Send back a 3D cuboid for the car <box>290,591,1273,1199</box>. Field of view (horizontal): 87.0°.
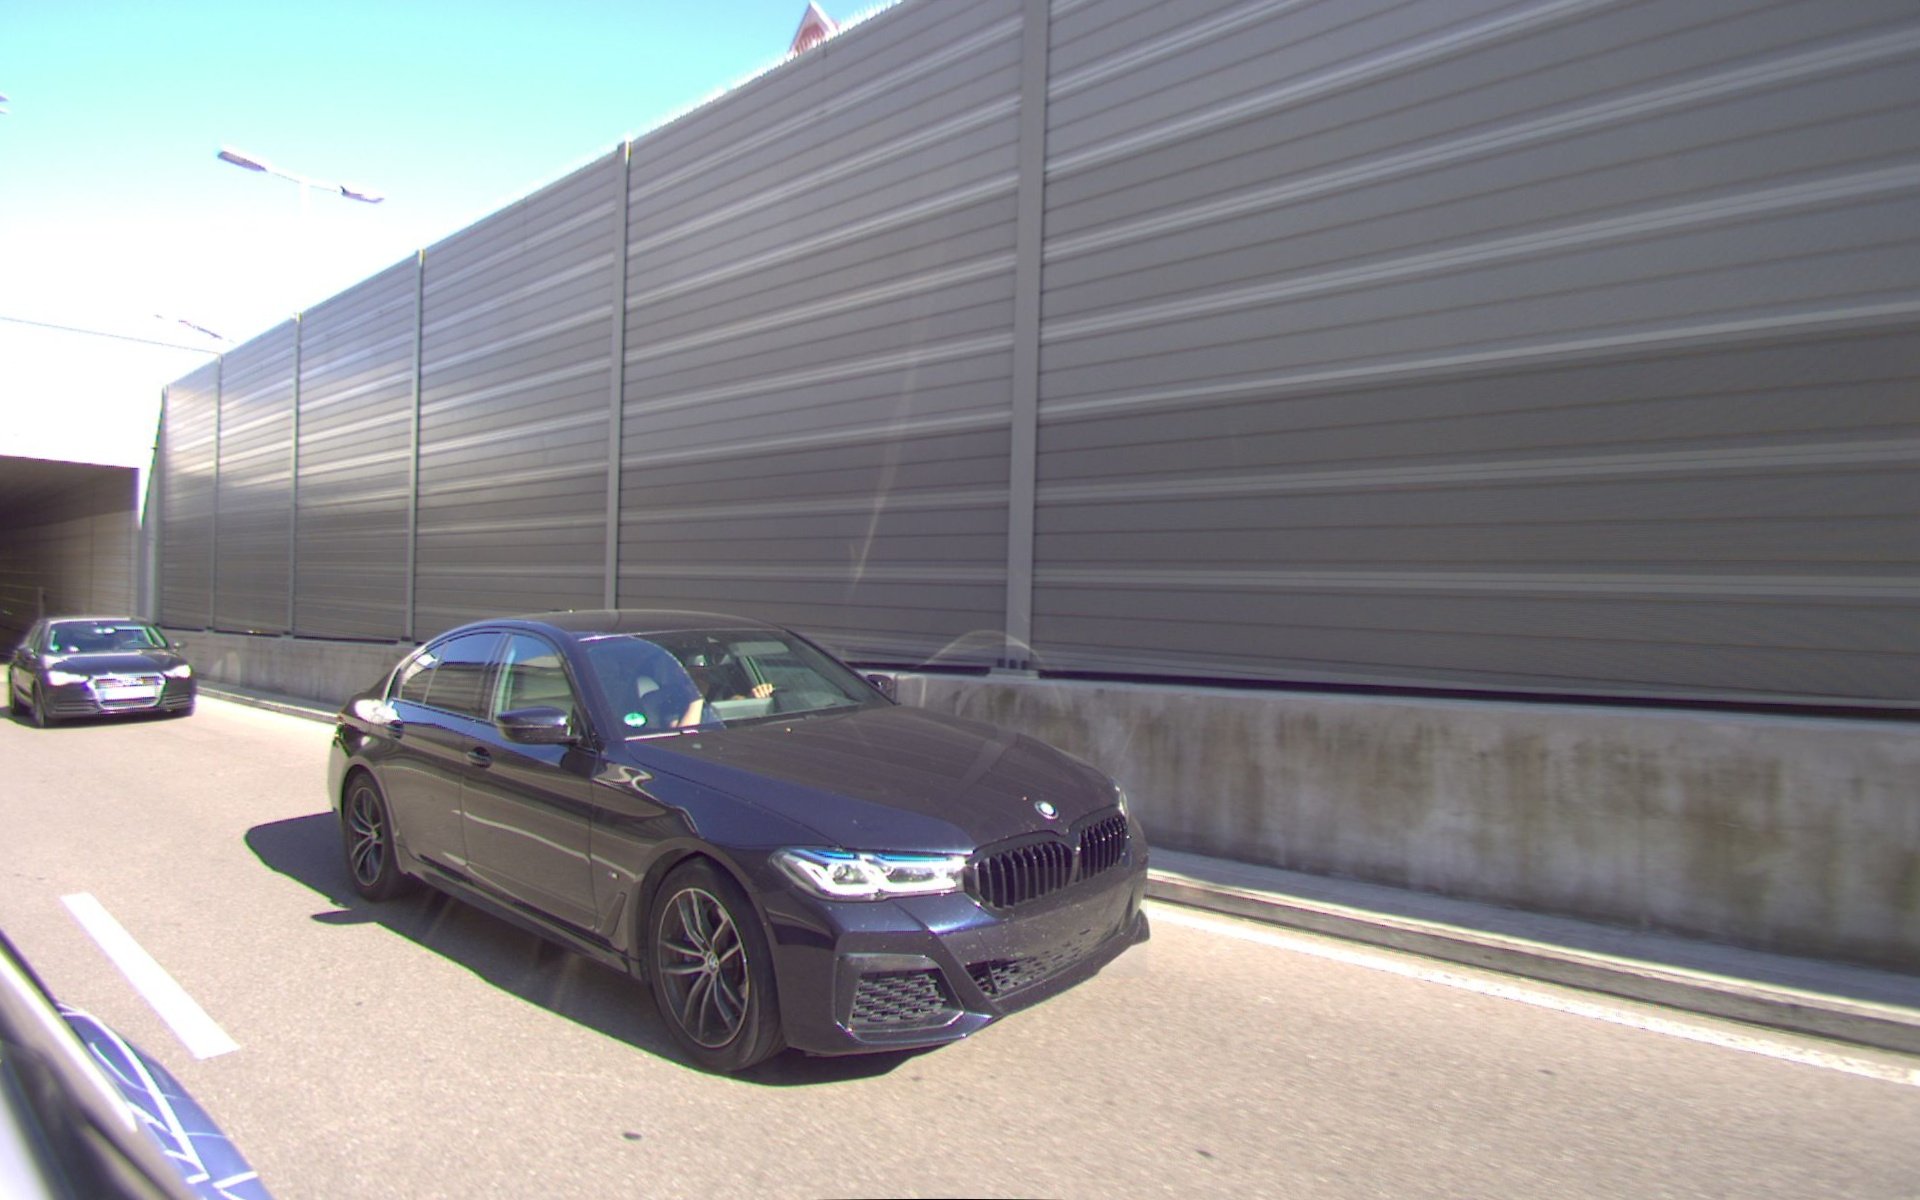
[{"bbox_3d":[-1.307,0.755,4.747,4.999,1.450,1.790,-2,-1,41],"label":"car"}]

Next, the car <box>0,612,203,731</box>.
[{"bbox_3d":[-12.238,0.925,14.310,3.886,1.429,1.678,-2,-1,41],"label":"car"}]
